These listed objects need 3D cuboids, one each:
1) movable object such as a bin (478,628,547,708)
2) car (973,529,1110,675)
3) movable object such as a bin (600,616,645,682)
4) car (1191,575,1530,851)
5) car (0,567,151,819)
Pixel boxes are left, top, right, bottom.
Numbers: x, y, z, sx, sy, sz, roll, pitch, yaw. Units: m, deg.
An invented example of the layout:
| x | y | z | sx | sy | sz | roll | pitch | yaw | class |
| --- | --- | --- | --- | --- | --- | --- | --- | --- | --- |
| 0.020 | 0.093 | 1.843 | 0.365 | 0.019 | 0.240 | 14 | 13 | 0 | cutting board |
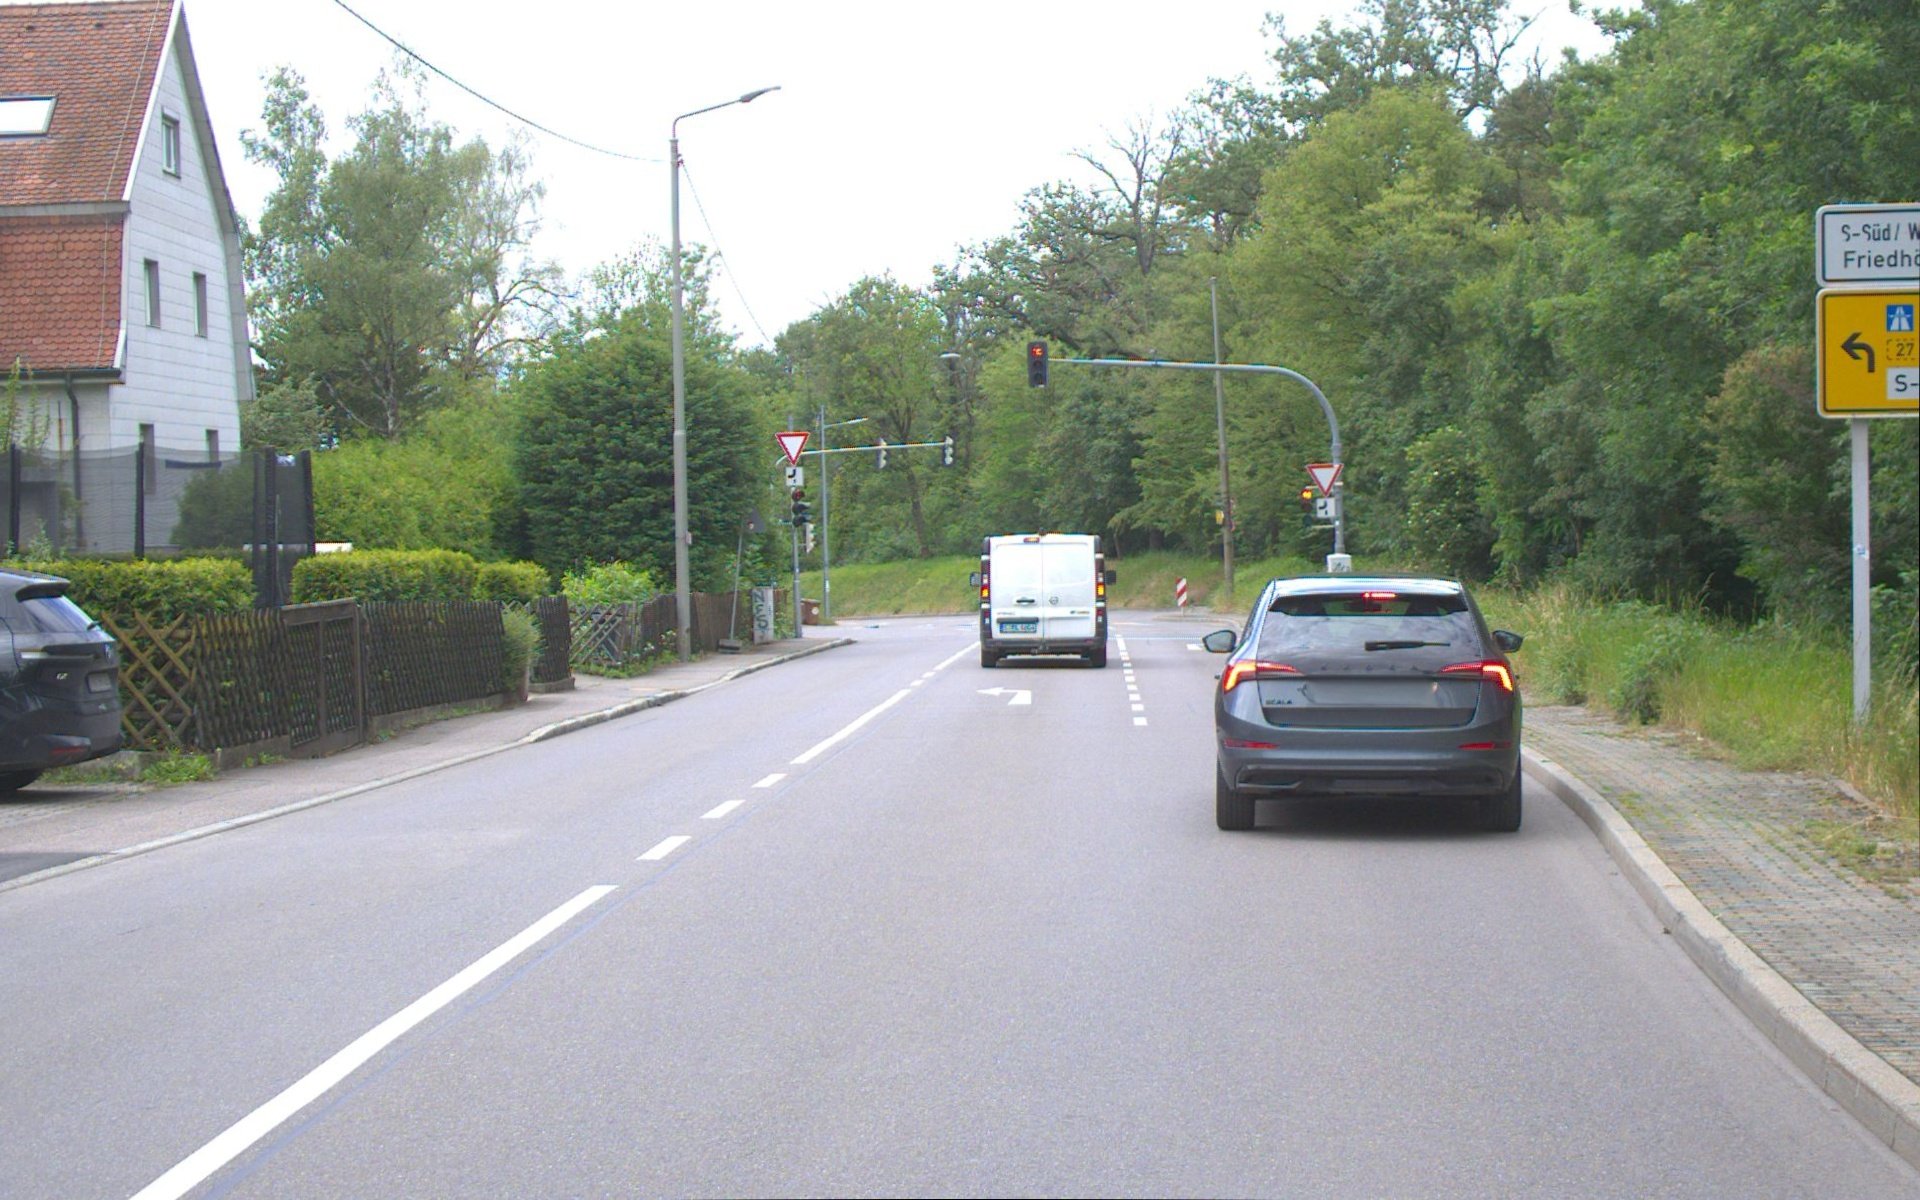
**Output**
| x | y | z | sx | sy | sz | roll | pitch | yaw | class |
| --- | --- | --- | --- | --- | --- | --- | --- | --- | --- |
| -5.288 | 0.800 | 40.665 | 0.633 | 0.910 | 0.560 | 1 | 1 | 15 | movable object such as a bin |
| 1.178 | 0.009 | 51.738 | 1.916 | 2.046 | 4.614 | -1 | 0 | 0 | car |
| -4.910 | 0.710 | 50.044 | 0.550 | 0.935 | 0.537 | -1 | 0 | 4 | movable object such as a bin |
| 2.409 | 0.602 | 20.613 | 1.793 | 1.445 | 3.999 | -1 | 1 | 7 | car |
| -8.205 | 0.587 | 23.916 | 4.670 | 1.664 | 1.883 | 1 | 0 | 2 | car |
